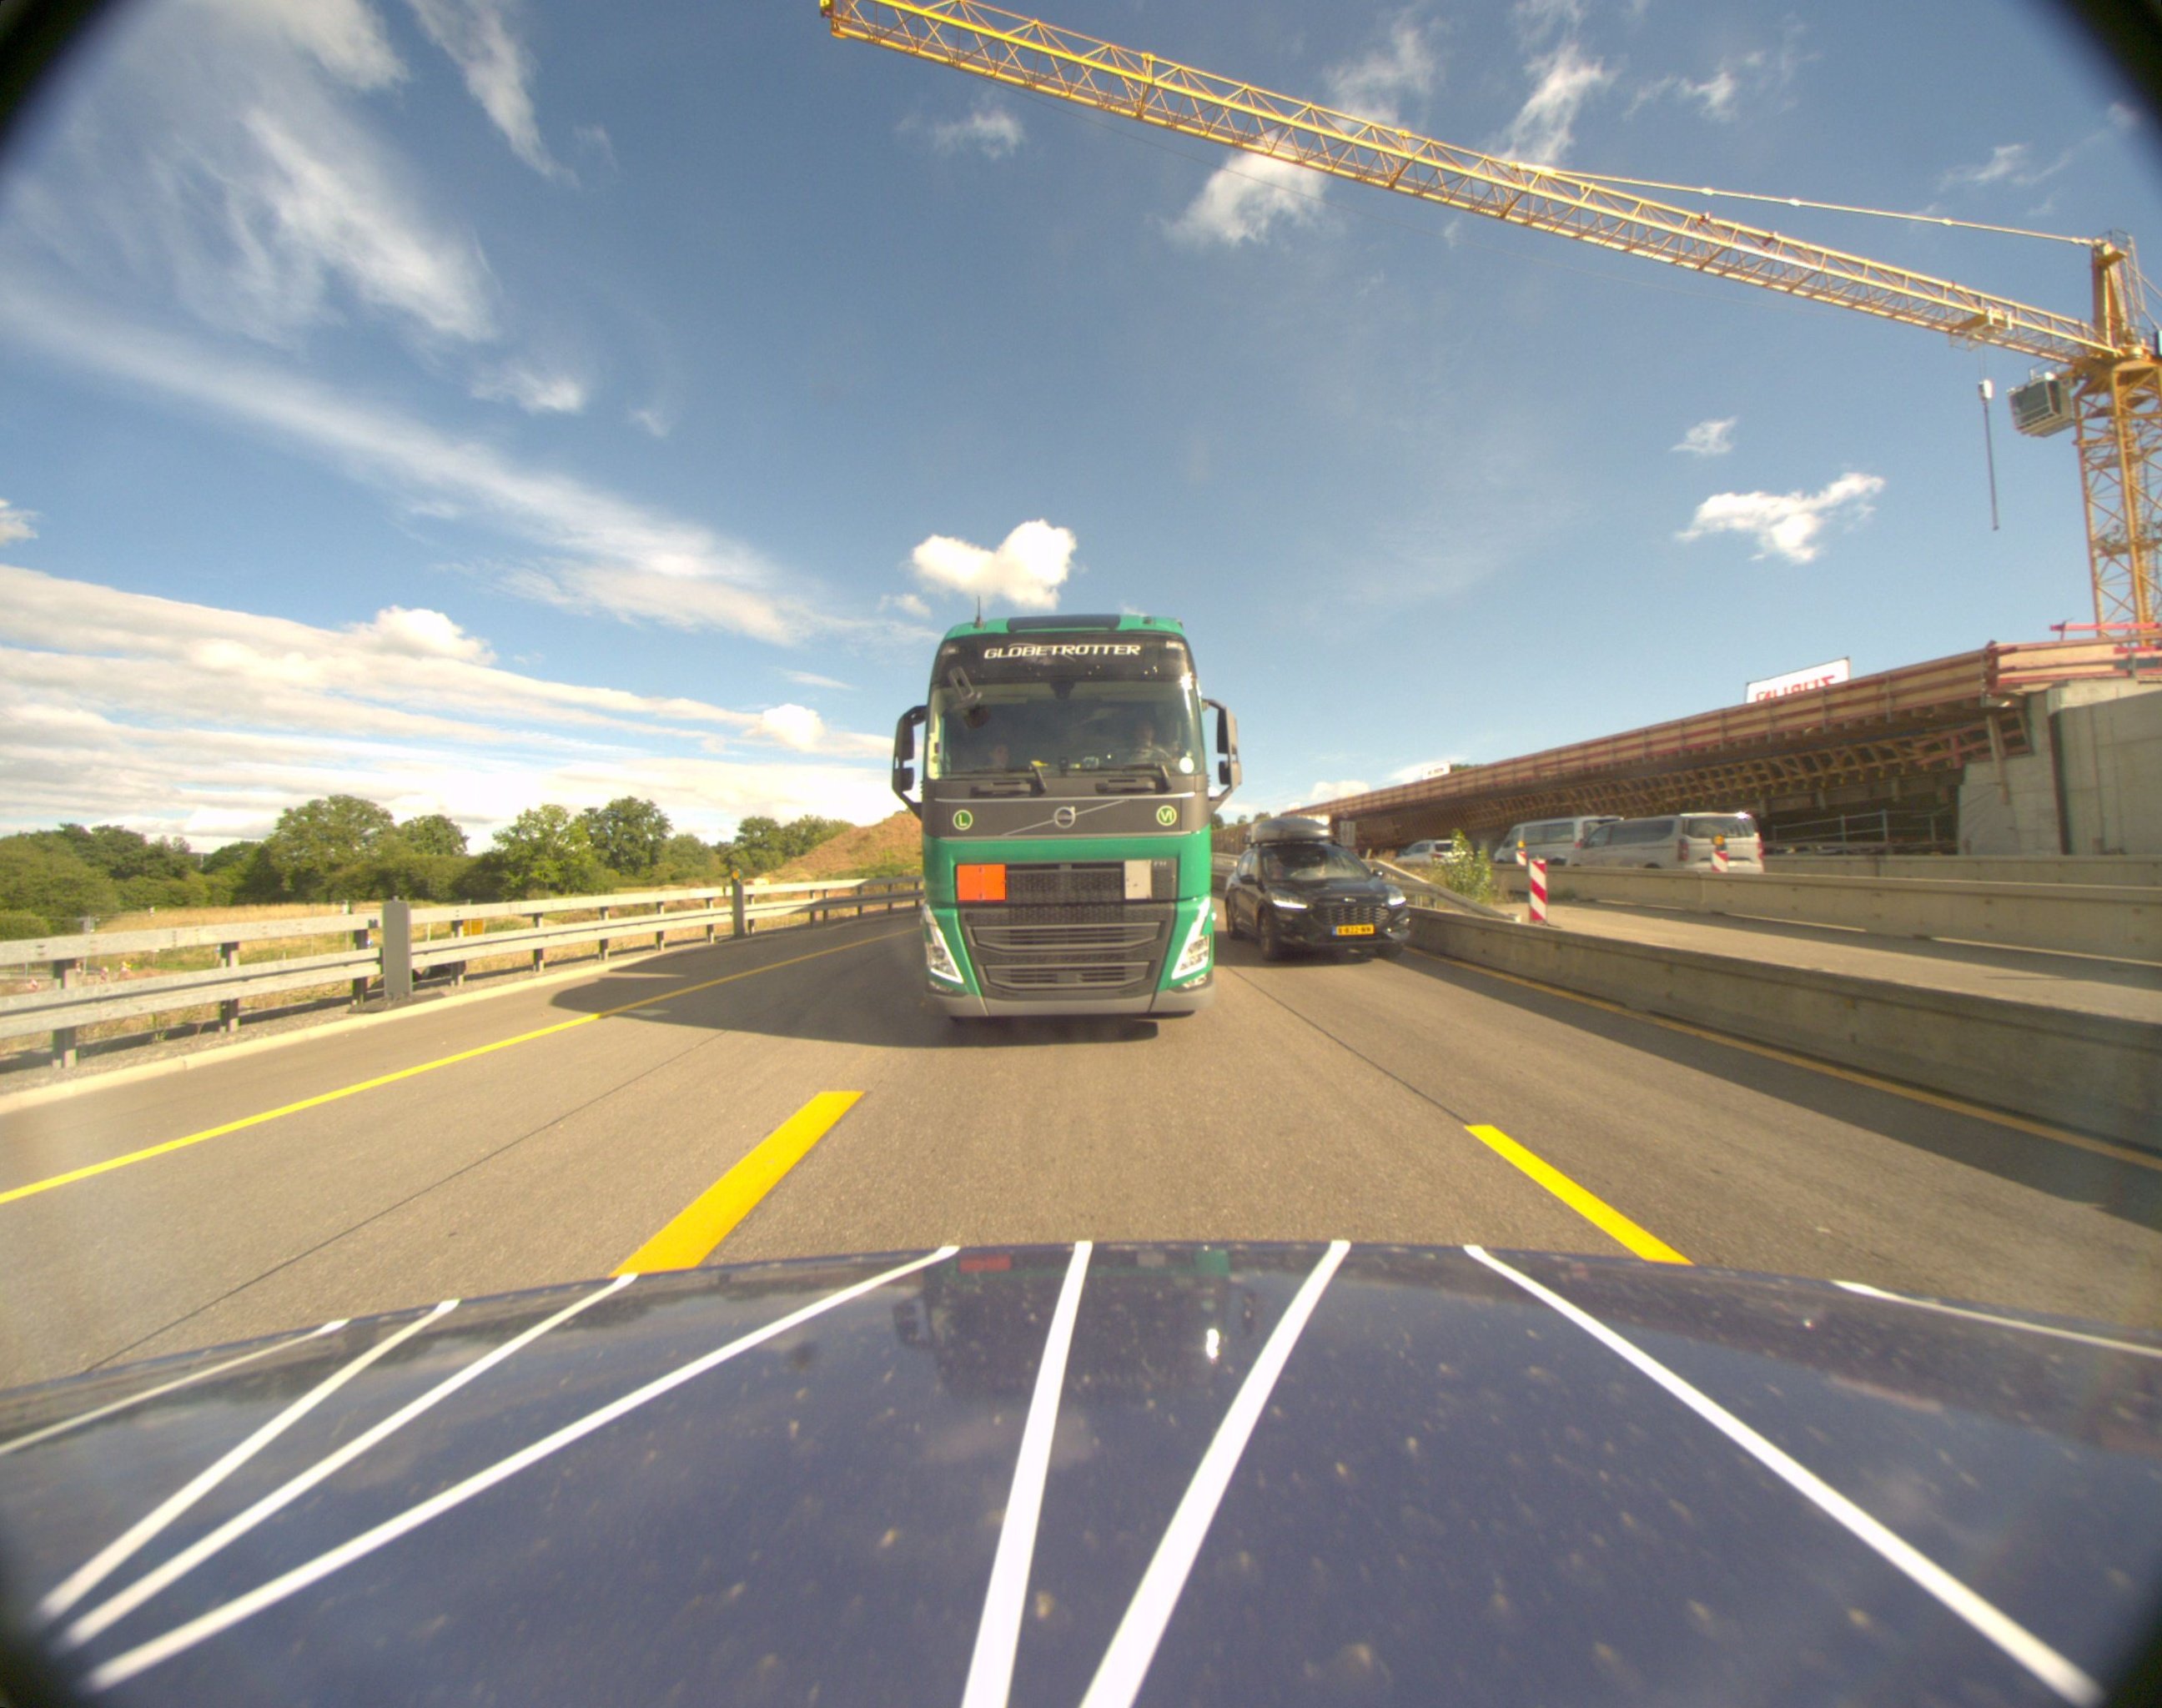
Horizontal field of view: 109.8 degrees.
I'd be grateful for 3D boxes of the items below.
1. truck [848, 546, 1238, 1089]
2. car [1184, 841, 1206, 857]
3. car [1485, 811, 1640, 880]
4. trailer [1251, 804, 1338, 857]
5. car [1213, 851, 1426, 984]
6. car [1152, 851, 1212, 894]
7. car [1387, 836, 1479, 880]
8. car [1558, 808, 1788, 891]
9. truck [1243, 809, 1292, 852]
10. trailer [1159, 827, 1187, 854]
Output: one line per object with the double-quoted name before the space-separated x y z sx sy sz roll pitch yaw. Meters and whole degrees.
"truck" -0.274 -0.333 10.673 2.663 3.825 10.315 -2 1 0
"car" 13.602 -0.618 90.636 1.998 1.717 4.122 -2 1 1
"car" 18.734 -0.352 30.028 2.264 2.389 5.865 -2 1 -1
"trailer" 17.655 -1.883 64.181 2.828 3.819 13.798 -3 1 -2
"car" 3.321 0.772 11.539 1.804 1.533 4.384 -3 1 0
"car" 3.824 0.657 29.505 1.948 1.422 4.505 -2 1 3
"car" 15.167 0.180 33.008 2.130 1.664 4.273 -3 0 3
"car" 14.884 -0.095 19.597 2.130 1.755 5.032 -3 0 3
"truck" 17.380 -2.160 71.061 2.784 3.767 6.016 -3 1 -2
"trailer" 15.264 -2.311 127.480 2.694 4.132 13.808 -2 1 -1
